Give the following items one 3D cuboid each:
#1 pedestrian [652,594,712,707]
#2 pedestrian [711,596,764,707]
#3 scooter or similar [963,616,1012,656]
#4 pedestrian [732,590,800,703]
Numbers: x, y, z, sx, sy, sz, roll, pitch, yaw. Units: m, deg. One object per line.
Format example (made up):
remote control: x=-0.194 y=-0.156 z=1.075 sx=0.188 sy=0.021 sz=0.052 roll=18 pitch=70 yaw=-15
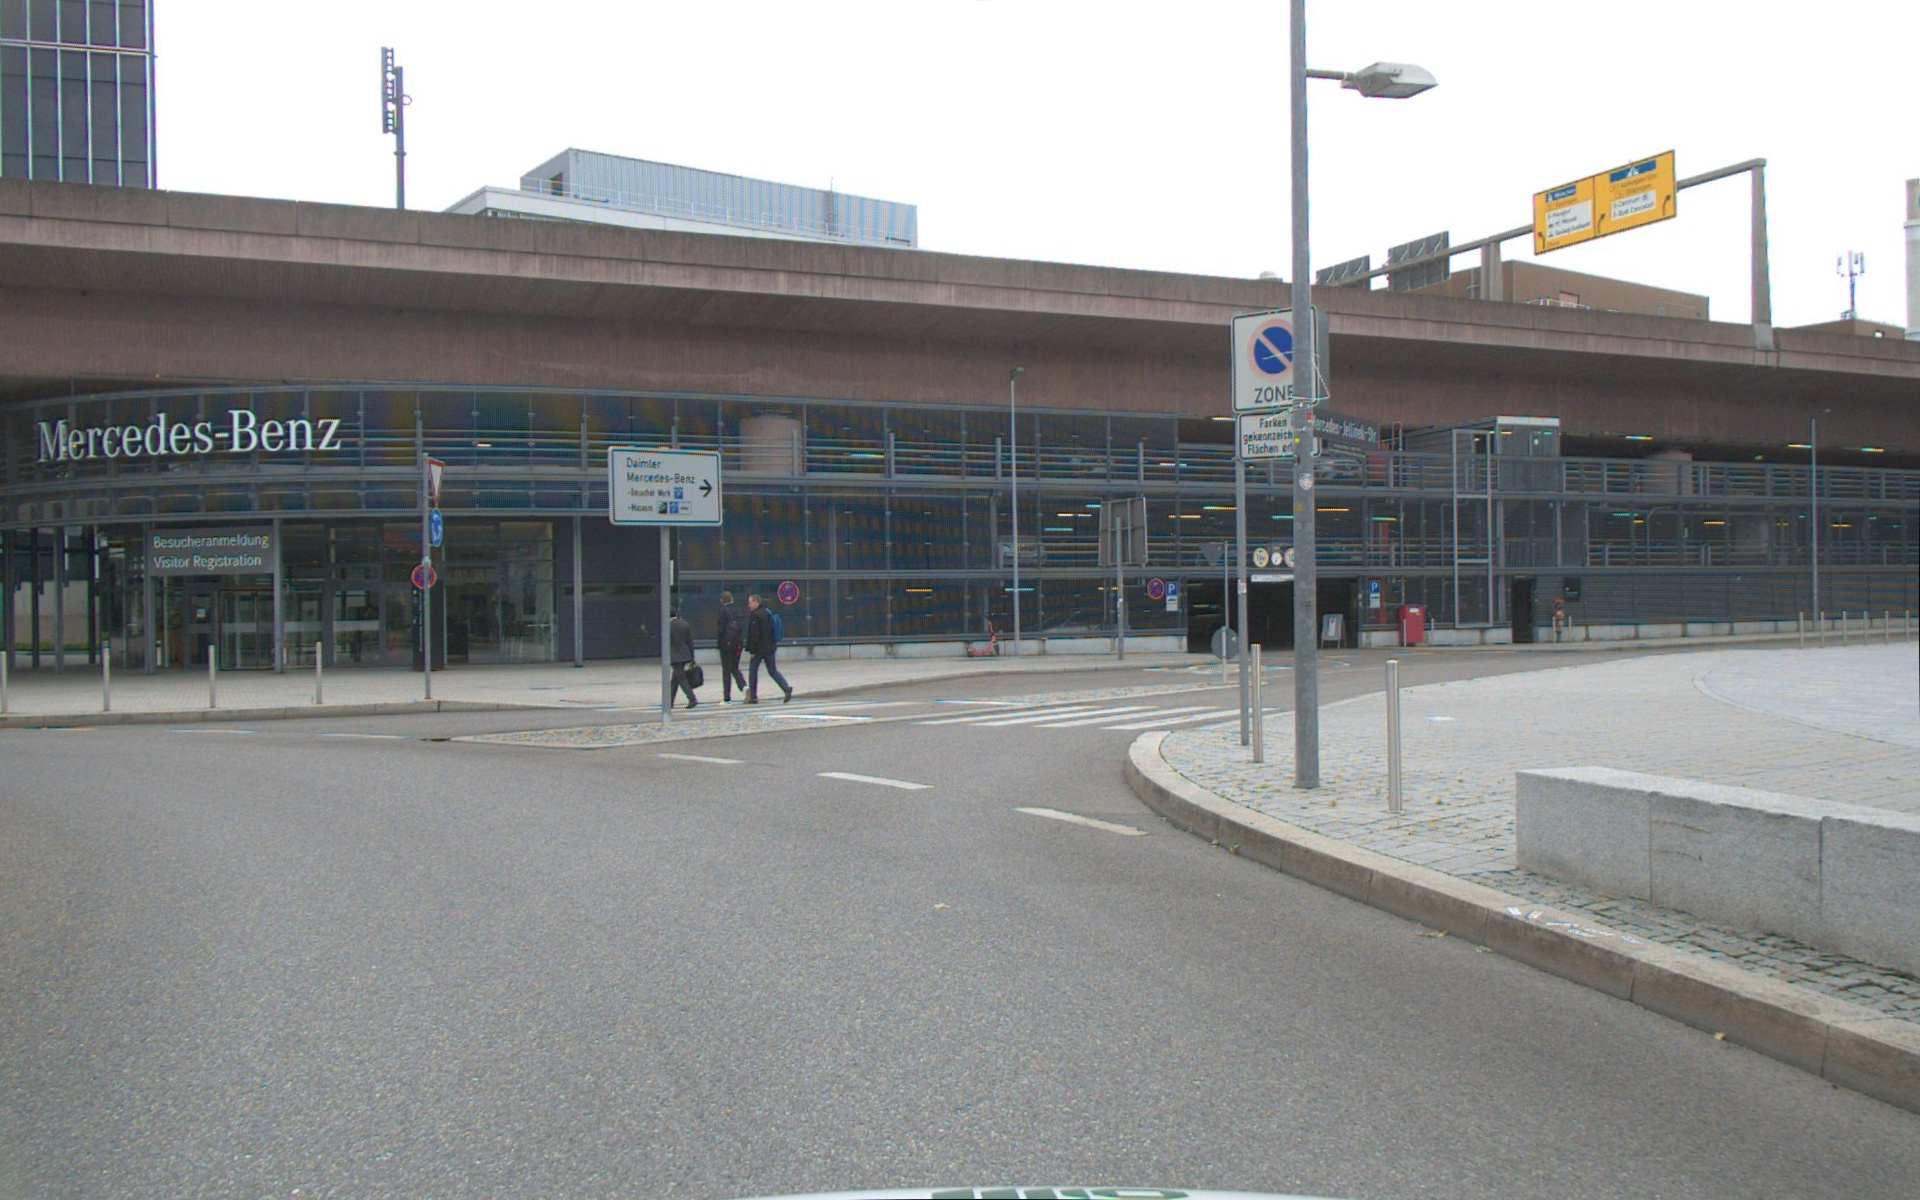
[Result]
pedestrian: x=-4.348 y=0.780 z=25.915 sx=0.846 sy=1.735 sz=0.772 roll=0 pitch=0 yaw=-5
pedestrian: x=-3.527 y=0.808 z=26.281 sx=0.769 sy=1.735 sz=0.772 roll=0 pitch=0 yaw=-4
scooter or similar: x=0.813 y=1.055 z=48.246 sx=1.405 sy=1.143 sz=0.378 roll=0 pitch=0 yaw=-25
pedestrian: x=-3.209 y=0.752 z=27.291 sx=0.856 sy=1.830 sz=0.773 roll=0 pitch=0 yaw=-36
